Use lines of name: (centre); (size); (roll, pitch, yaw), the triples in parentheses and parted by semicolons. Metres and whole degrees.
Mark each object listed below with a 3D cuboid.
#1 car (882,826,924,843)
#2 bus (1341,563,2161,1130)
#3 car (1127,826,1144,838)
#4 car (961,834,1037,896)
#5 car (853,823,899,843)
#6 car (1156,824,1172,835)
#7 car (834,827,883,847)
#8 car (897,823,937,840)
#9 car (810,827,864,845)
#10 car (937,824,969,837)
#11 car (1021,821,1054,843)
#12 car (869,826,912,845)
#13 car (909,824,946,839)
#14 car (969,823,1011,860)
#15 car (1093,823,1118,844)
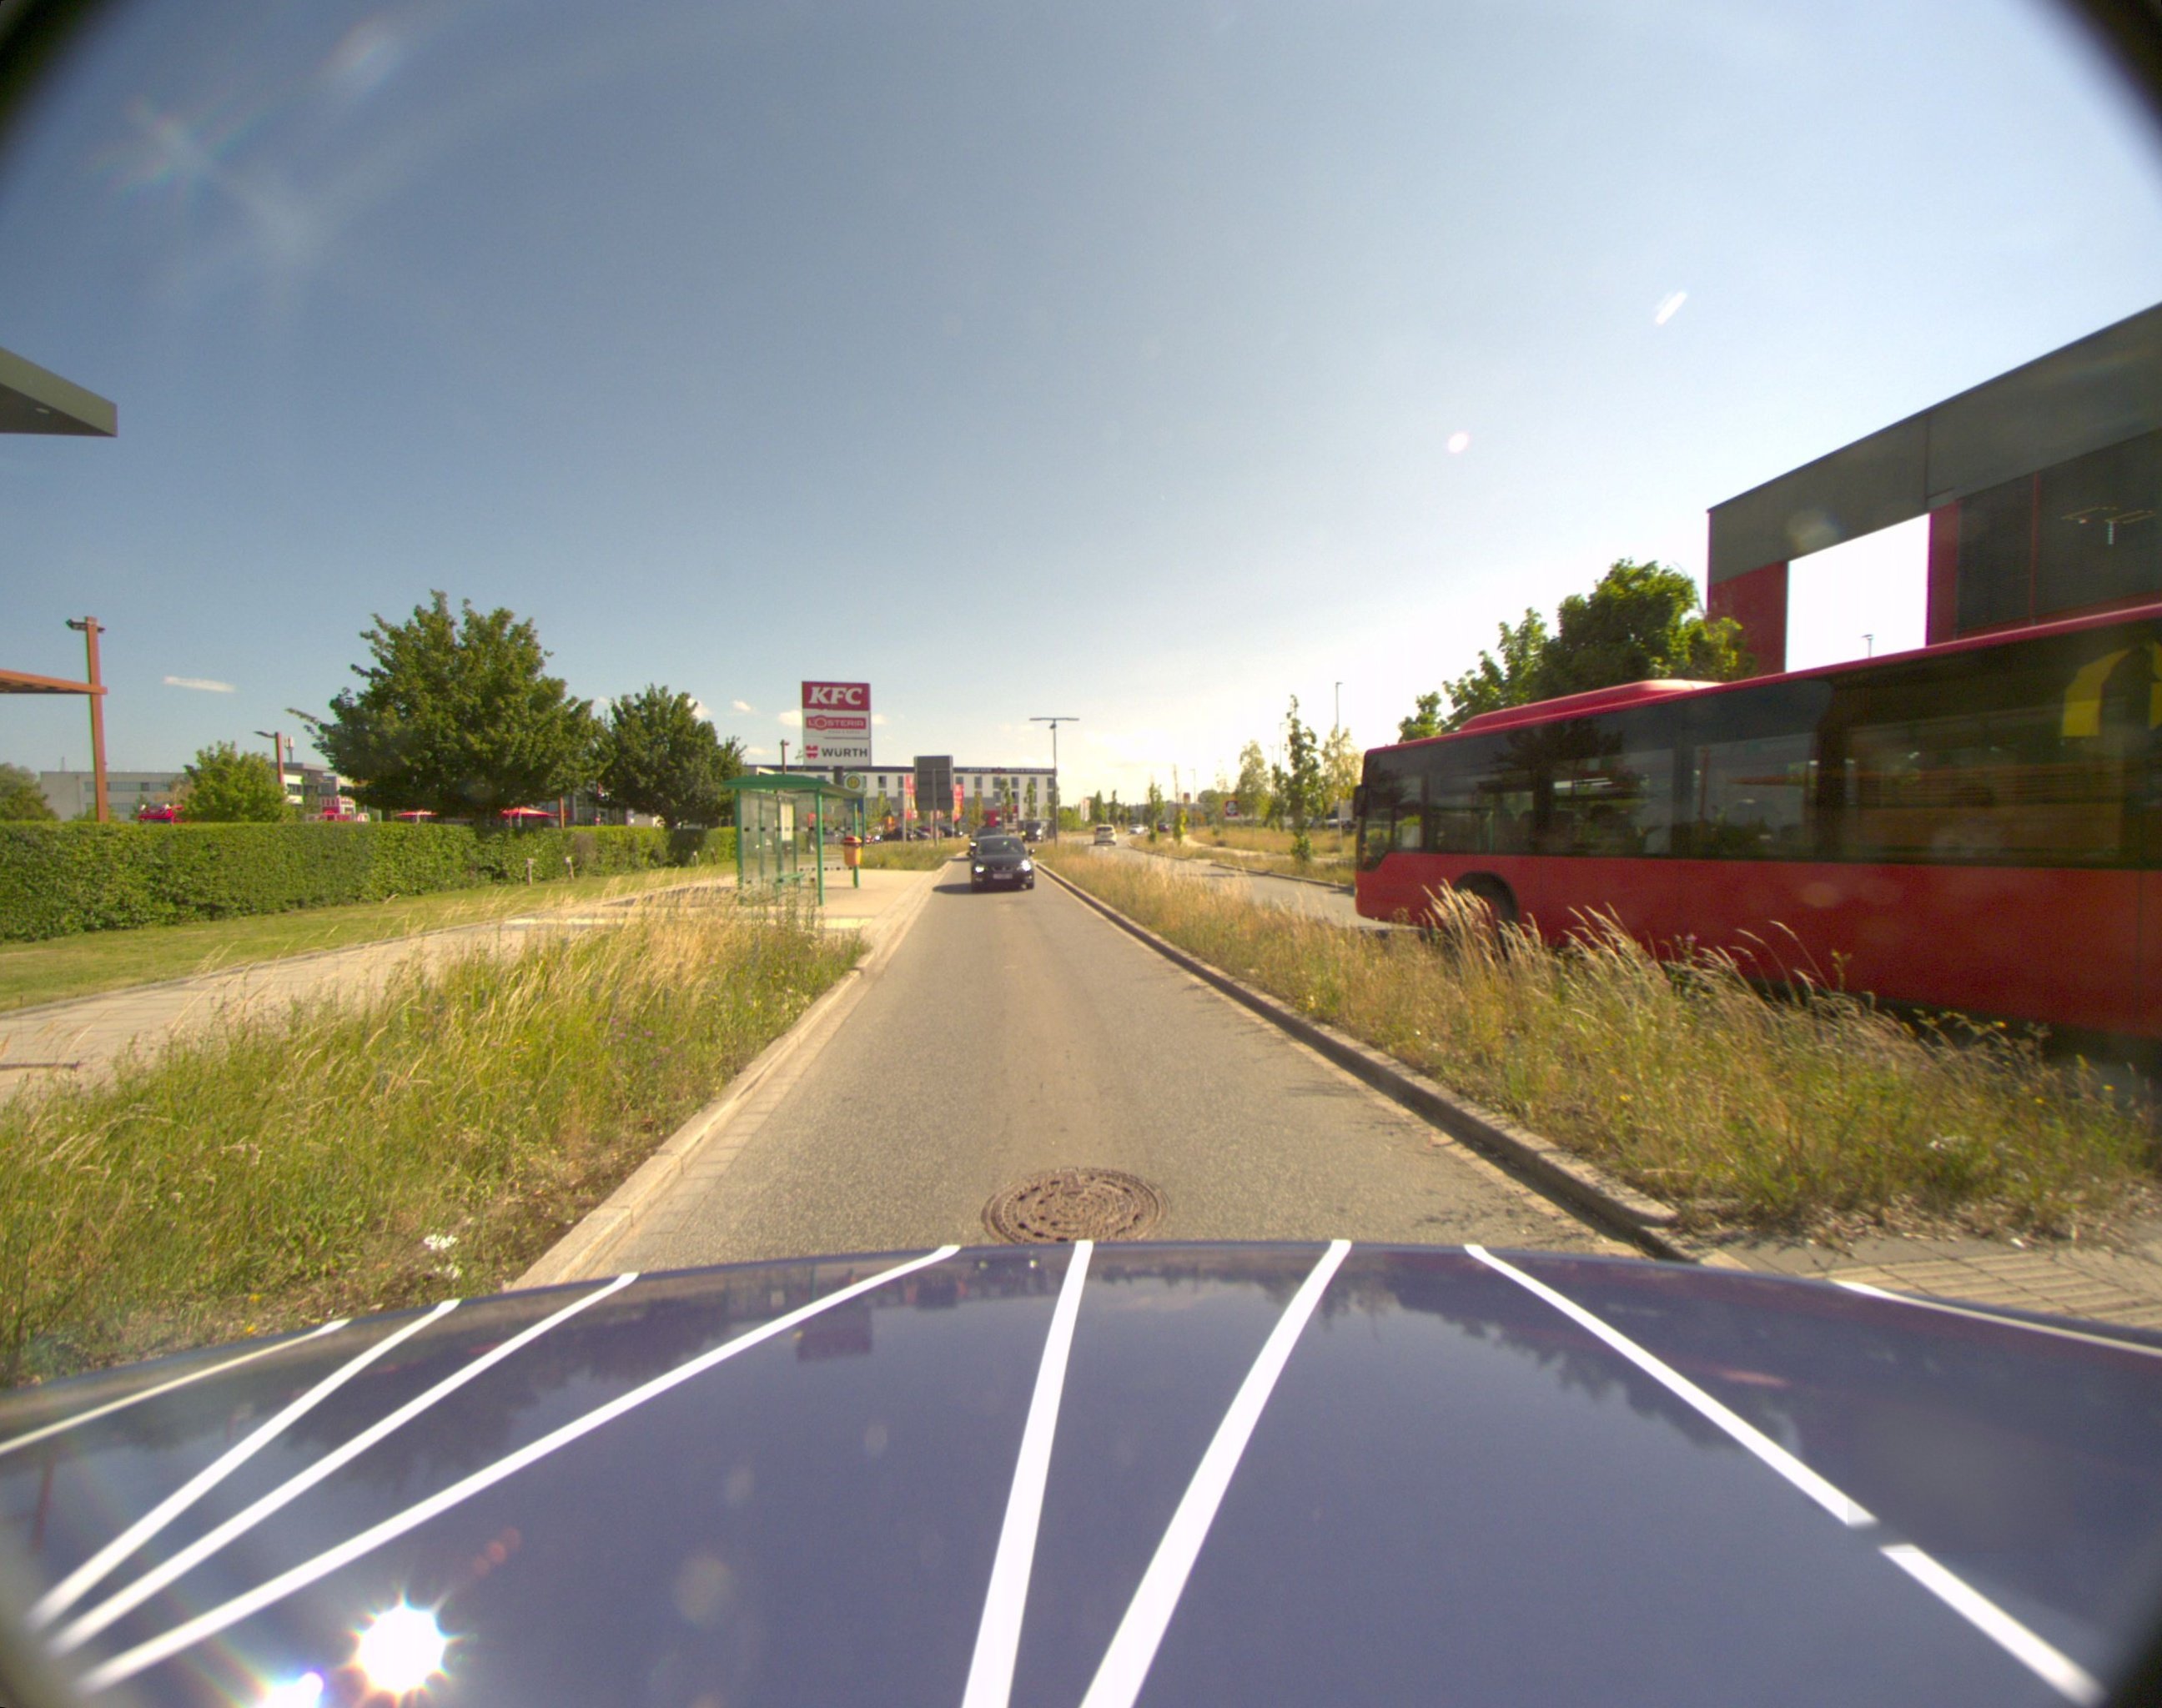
car: (-20.171, -2.178, 86.016); (4.180, 1.847, 1.804); (0, 2, 11)
bus: (6.918, -0.046, 6.342); (2.619, 3.222, 11.863); (0, 0, -16)
car: (7.833, -3.096, 109.057); (1.997, 1.674, 4.002); (0, 2, 9)
car: (-2.241, 0.235, 21.407); (1.862, 1.460, 3.996); (-2, 3, -4)
car: (-21.567, -2.212, 79.891); (4.181, 2.002, 1.933); (0, 2, 7)
car: (12.148, -3.606, 111.004); (1.998, 1.609, 3.999); (-1, 2, 2)
car: (-22.473, -1.728, 76.821); (4.181, 2.002, 1.934); (0, 2, 8)
car: (-19.636, -2.738, 91.114); (4.182, 2.002, 1.933); (0, 2, 5)
car: (-23.089, -1.736, 72.109); (4.440, 1.643, 1.932); (-1, 2, 0)
car: (-16.977, -3.082, 100.674); (3.820, 1.610, 1.757); (0, 2, 7)
car: (-4.106, -2.130, 72.725); (2.077, 2.037, 4.685); (0, 2, 10)
car: (-20.930, -2.020, 83.499); (4.181, 2.002, 1.934); (0, 2, 7)
car: (-18.971, -2.786, 93.984); (4.180, 1.752, 1.825); (0, 2, 10)
car: (-4.626, -0.701, 39.055); (1.862, 1.679, 3.996); (-3, 3, -4)
car: (2.056, -1.694, 62.586); (1.861, 1.705, 4.156); (0, 2, 3)
